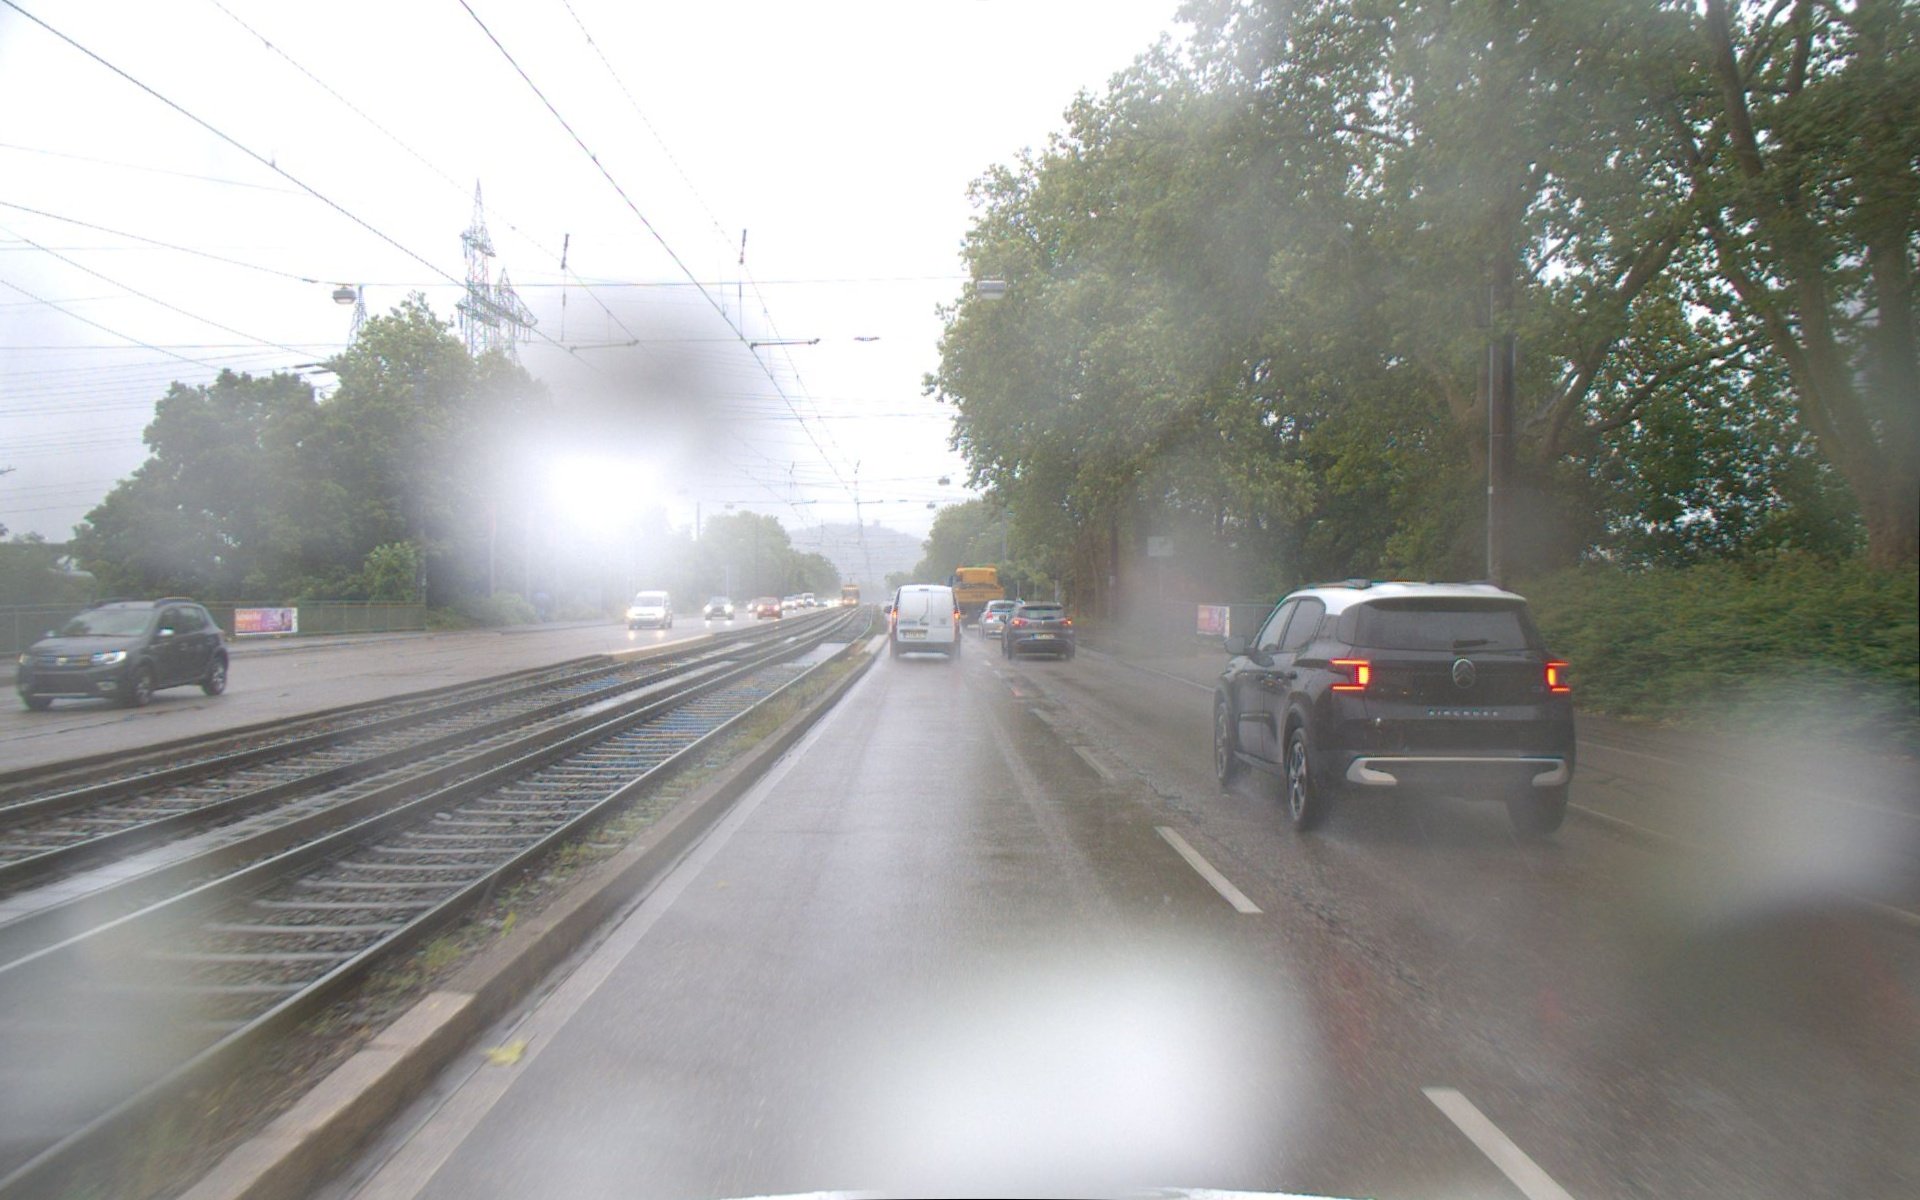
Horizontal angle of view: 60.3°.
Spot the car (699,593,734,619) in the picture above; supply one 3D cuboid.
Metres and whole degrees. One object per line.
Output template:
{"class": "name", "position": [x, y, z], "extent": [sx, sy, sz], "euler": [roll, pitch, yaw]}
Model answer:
{"class": "car", "position": [-17.569, 0.445, 119.635], "extent": [1.953, 1.847, 4.000], "euler": [0, 0, 0]}

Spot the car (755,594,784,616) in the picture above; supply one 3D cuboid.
{"class": "car", "position": [-13.900, 0.351, 120.874], "extent": [1.623, 1.512, 4.013], "euler": [0, 0, 0]}

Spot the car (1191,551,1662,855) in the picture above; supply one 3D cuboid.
{"class": "car", "position": [3.062, 0.556, 12.019], "extent": [1.861, 1.746, 4.723], "euler": [1, 1, -3]}

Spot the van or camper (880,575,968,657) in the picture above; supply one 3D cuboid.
{"class": "van or camper", "position": [-0.935, 0.345, 40.906], "extent": [1.954, 1.815, 3.998], "euler": [2, 1, -4]}

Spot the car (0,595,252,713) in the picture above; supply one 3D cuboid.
{"class": "car", "position": [-12.930, 0.760, 25.757], "extent": [1.952, 1.646, 4.253], "euler": [0, 0, 0]}

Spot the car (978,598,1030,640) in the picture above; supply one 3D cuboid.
{"class": "car", "position": [1.611, 0.694, 61.889], "extent": [1.781, 1.438, 3.778], "euler": [1, 1, -1]}

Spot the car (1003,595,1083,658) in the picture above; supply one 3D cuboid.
{"class": "car", "position": [2.073, 0.635, 42.312], "extent": [1.781, 1.438, 3.778], "euler": [1, 1, -1]}

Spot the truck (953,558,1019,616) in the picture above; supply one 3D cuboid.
{"class": "truck", "position": [1.262, -0.661, 84.333], "extent": [3.050, 2.821, 6.327], "euler": [1, 1, -2]}

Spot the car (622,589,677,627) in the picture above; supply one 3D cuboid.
{"class": "car", "position": [-15.347, 0.356, 81.999], "extent": [1.953, 1.847, 4.657], "euler": [0, 0, -2]}
